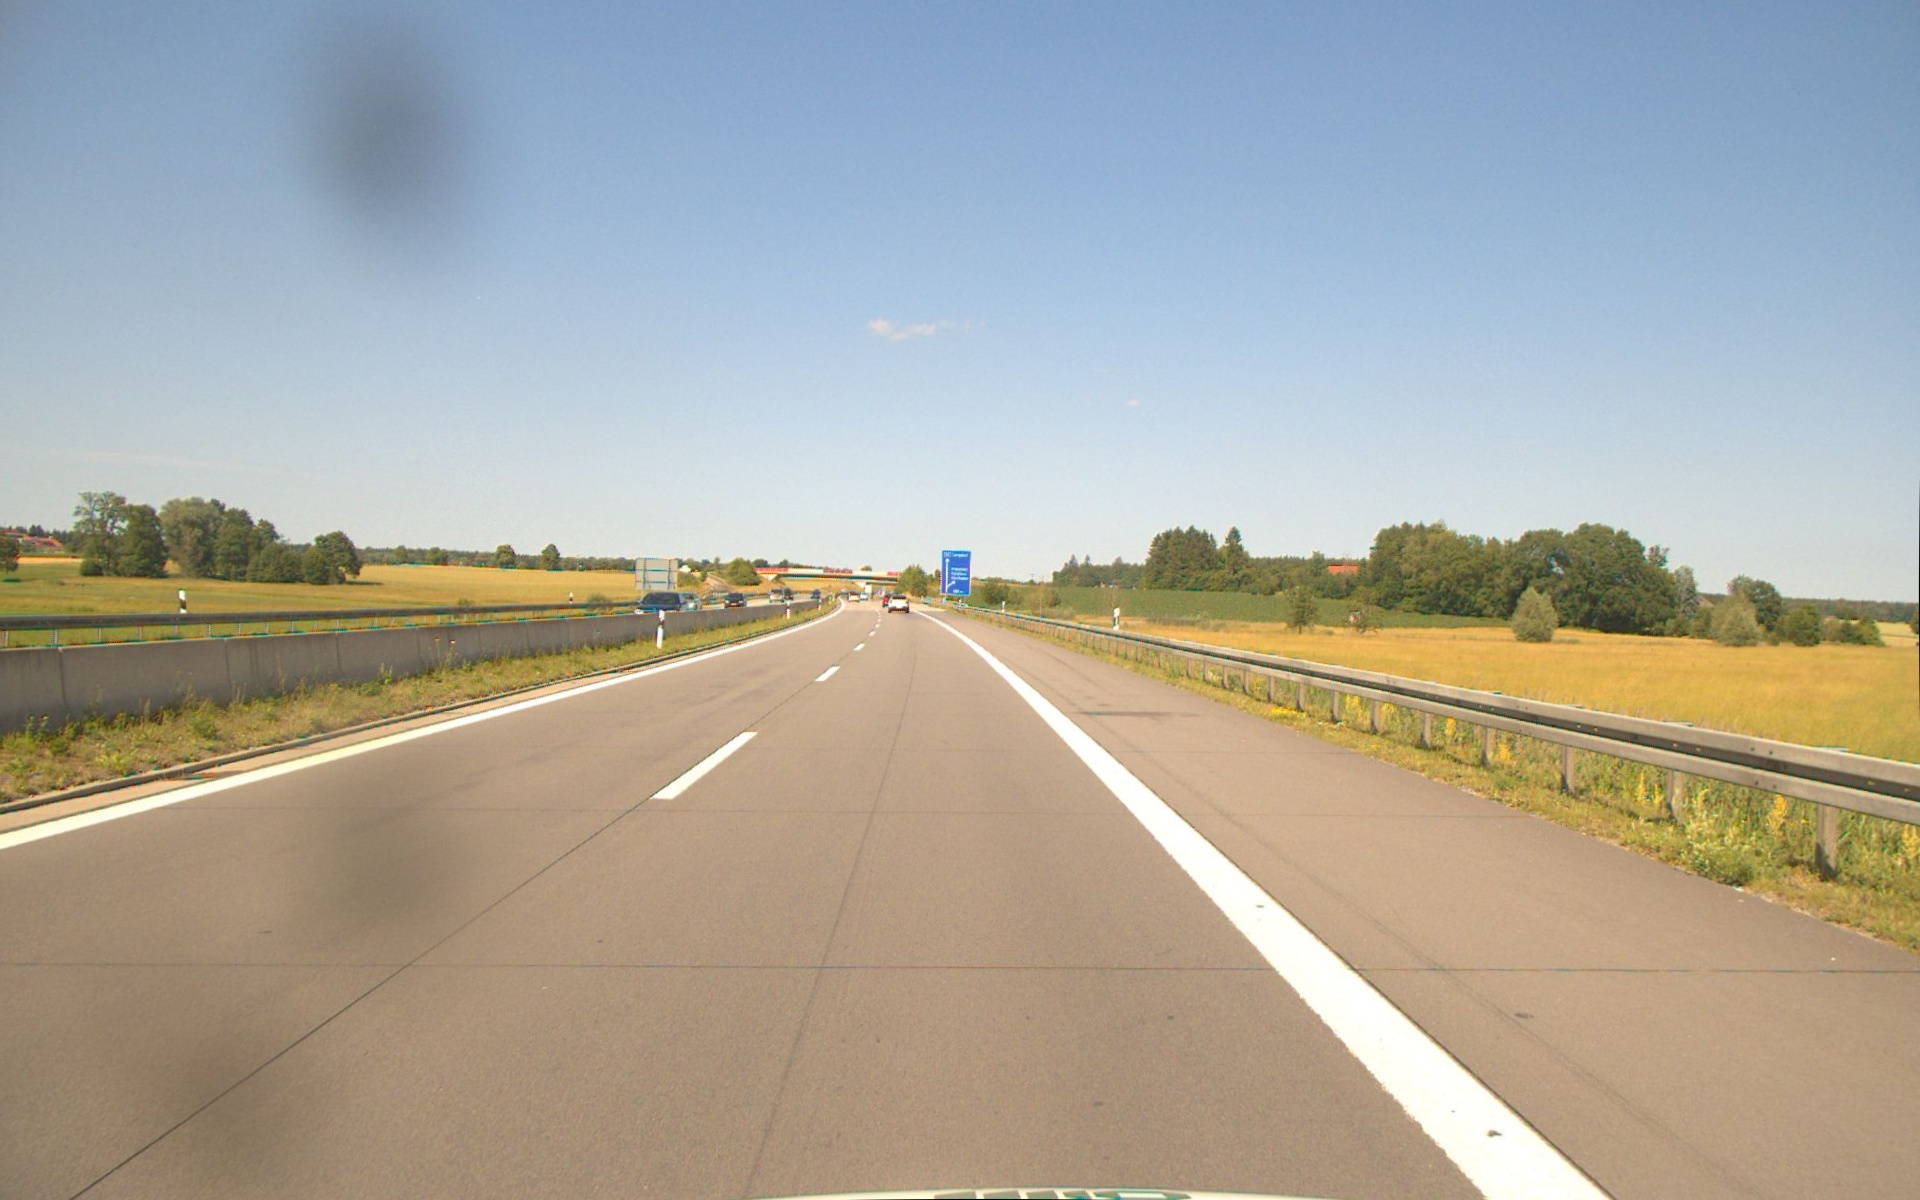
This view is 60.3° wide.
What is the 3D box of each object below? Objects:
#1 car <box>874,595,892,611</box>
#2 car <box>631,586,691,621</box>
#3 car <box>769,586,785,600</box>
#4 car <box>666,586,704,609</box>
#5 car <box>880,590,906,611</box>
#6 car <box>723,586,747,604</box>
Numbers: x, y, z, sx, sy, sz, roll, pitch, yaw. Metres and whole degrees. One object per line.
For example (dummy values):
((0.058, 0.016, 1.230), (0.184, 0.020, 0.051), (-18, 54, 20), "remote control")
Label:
((-9.084, 0.347, 194.794), (1.954, 1.761, 4.866), (2, 0, -3), "car")
((-12.198, 0.108, 67.771), (1.786, 1.388, 4.658), (0, 1, -2), "car")
((-25.272, -0.953, 228.025), (1.915, 1.874, 5.446), (0, 1, -4), "car")
((-17.553, -0.173, 105.845), (1.786, 1.388, 5.293), (0, 1, -2), "car")
((-5.866, 0.006, 144.553), (1.955, 1.761, 4.864), (2, 0, -5), "car")
((-20.040, -0.448, 147.455), (1.821, 1.612, 4.911), (0, 1, -4), "car")
